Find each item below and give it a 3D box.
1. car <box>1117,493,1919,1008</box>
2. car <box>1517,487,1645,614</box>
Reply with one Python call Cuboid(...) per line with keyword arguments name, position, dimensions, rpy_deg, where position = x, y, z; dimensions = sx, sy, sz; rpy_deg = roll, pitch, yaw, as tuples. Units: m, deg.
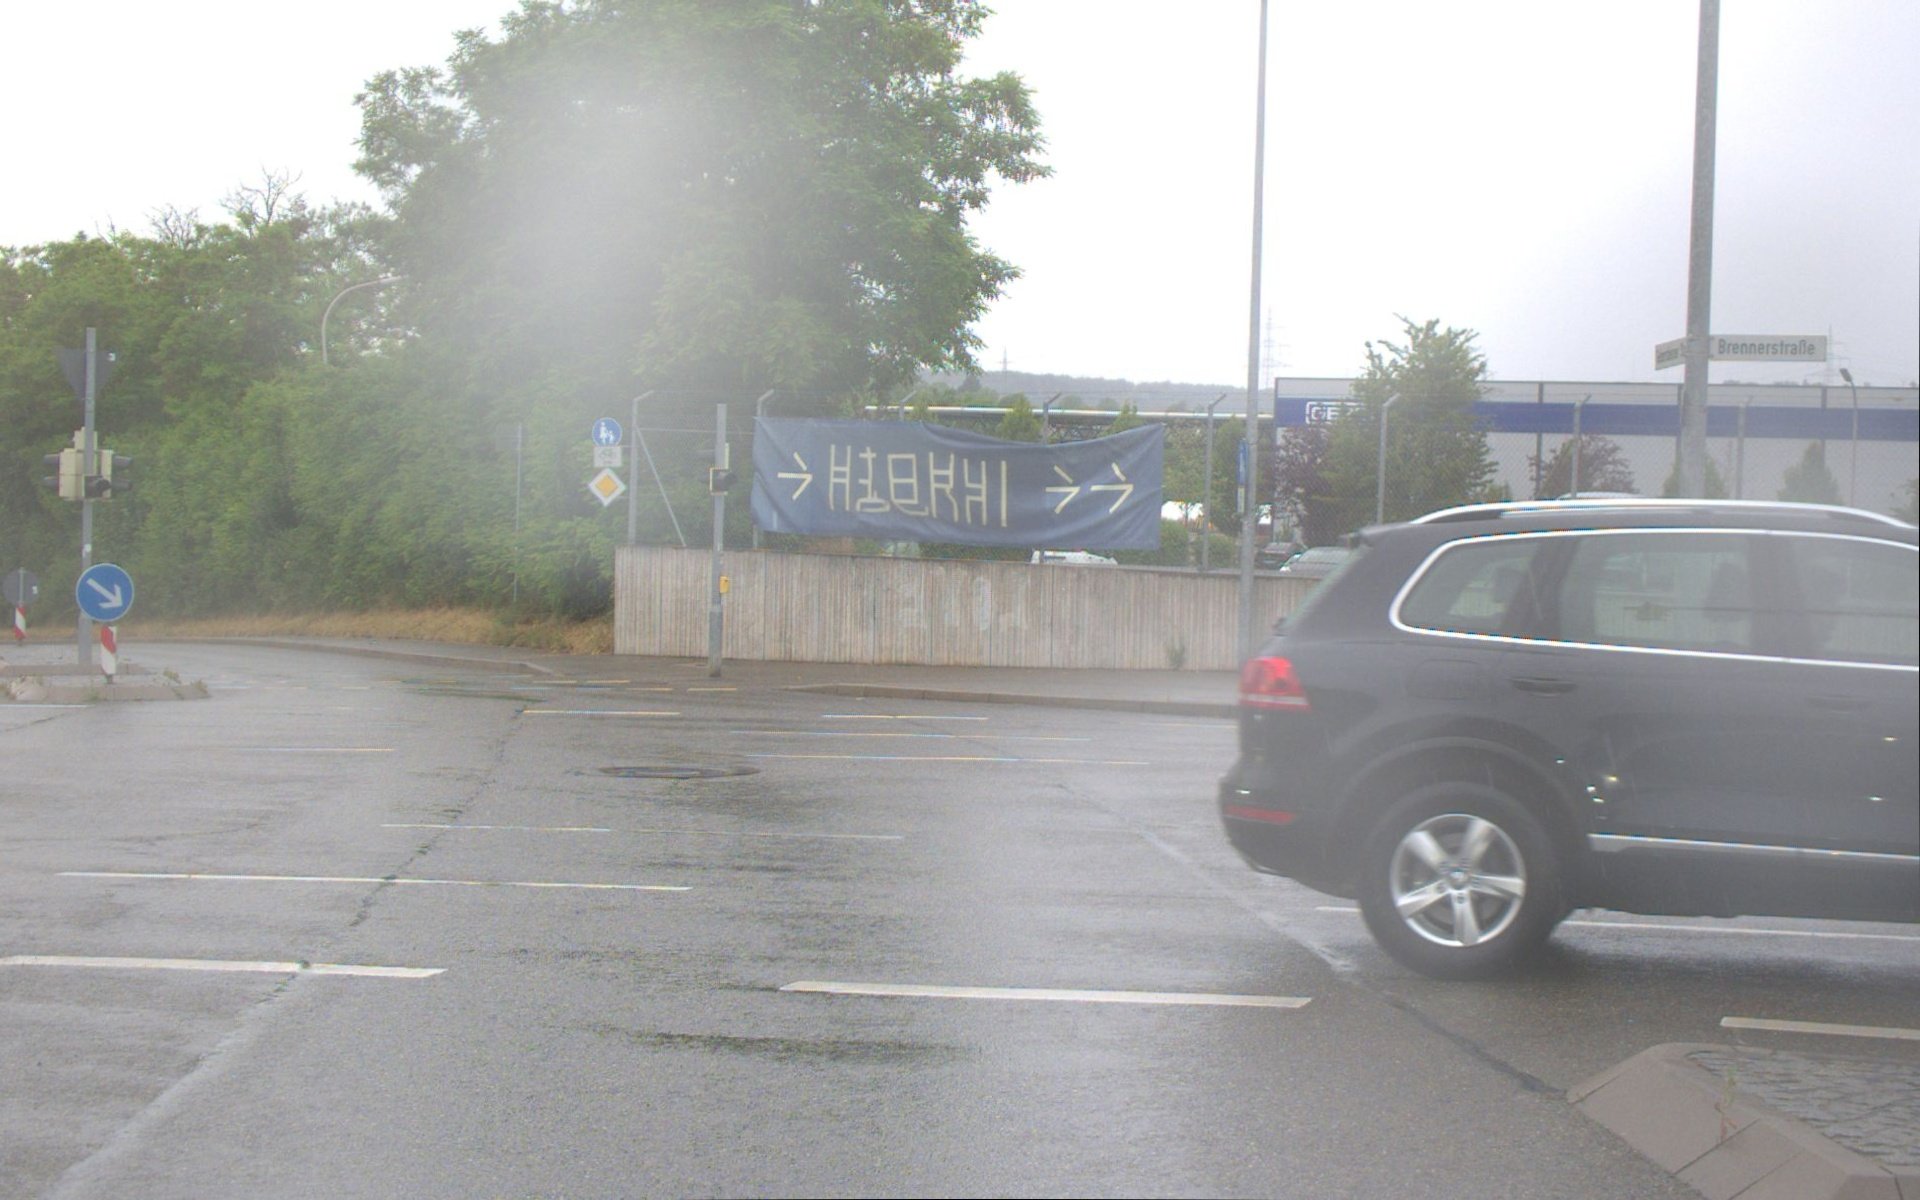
Cuboid(name="car", position=(3.048, 0.502, 12.683), dimensions=(4.599, 1.696, 1.999), rpy_deg=(1, 1, 14))
Cuboid(name="car", position=(10.446, -0.834, 57.684), dimensions=(1.994, 2.007, 3.998), rpy_deg=(1, 1, 11))
